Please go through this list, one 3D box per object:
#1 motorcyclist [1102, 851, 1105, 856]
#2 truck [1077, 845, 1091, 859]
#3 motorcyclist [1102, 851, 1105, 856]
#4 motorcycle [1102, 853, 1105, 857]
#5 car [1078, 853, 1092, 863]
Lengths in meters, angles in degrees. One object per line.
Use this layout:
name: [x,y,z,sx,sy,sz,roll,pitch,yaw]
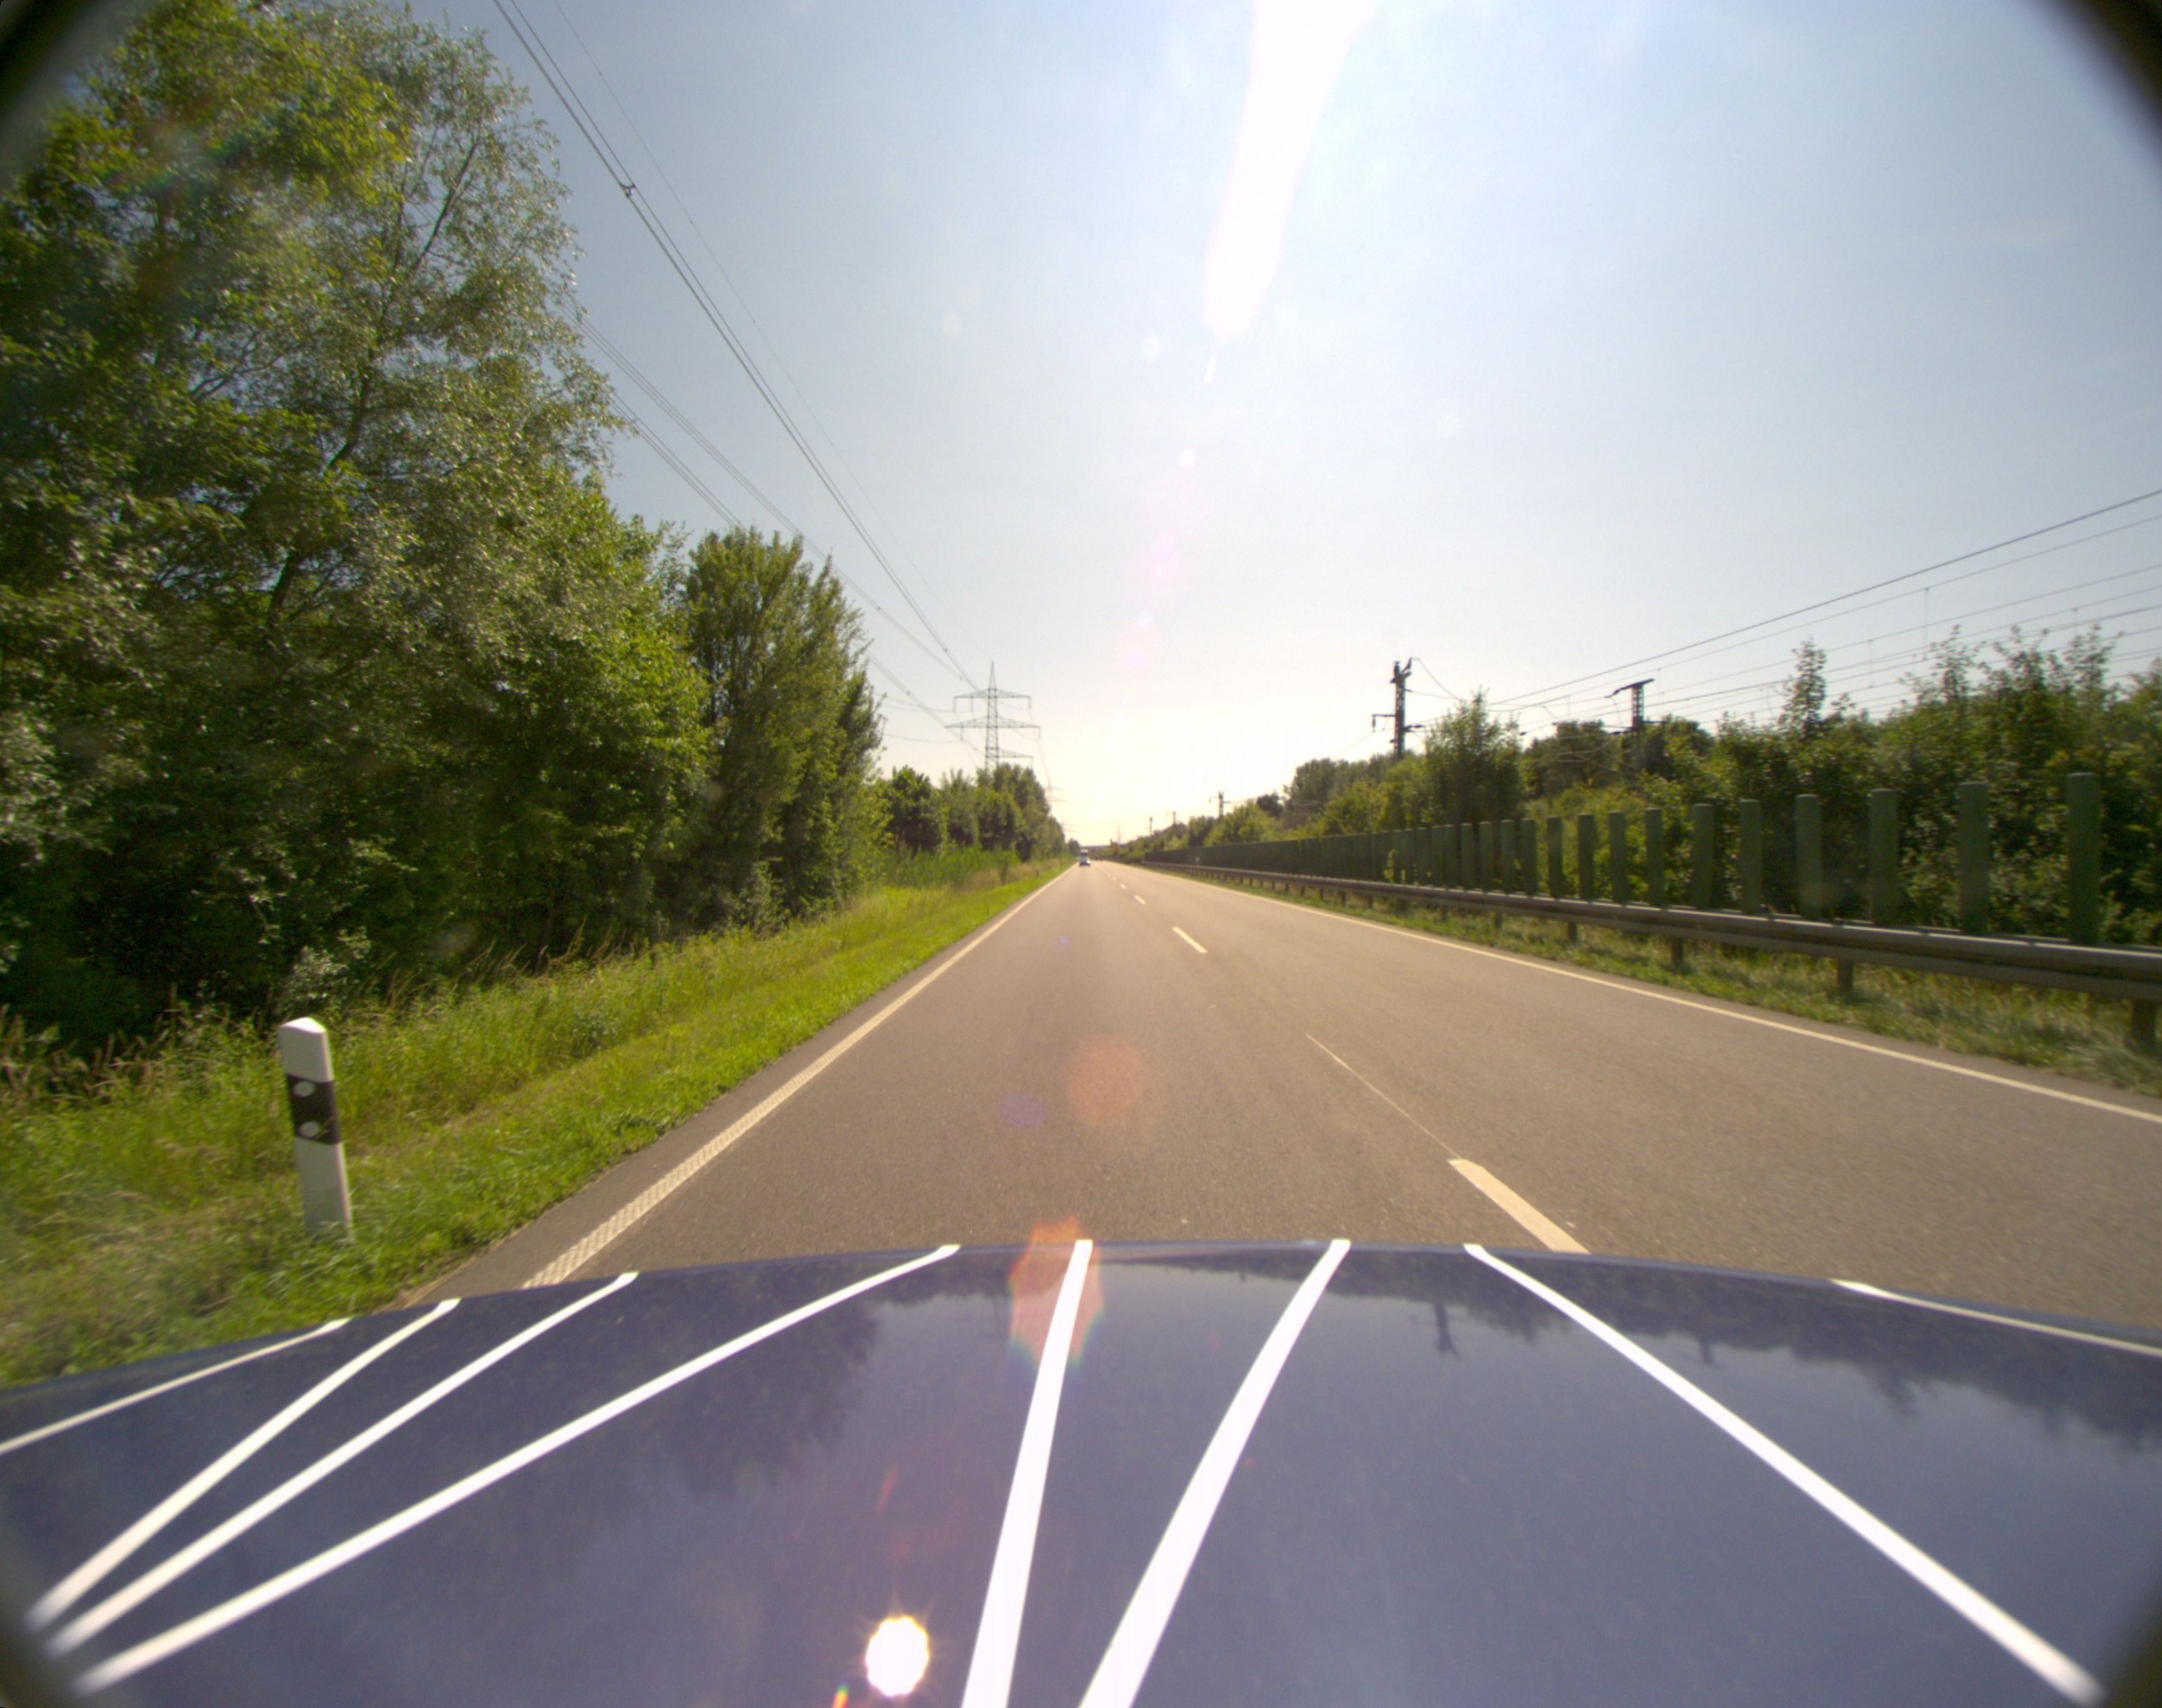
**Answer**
motorcyclist: [6.235,-0.147,214.249,0.751,1.574,0.863,-2,1,2]
truck: [0.898,-0.679,262.171,4.219,4.608,21.302,-2,0,0]
motorcyclist: [6.266,-0.162,215.203,0.760,1.574,1.003,-2,1,2]
motorcycle: [6.265,0.267,215.004,0.756,1.008,2.721,-2,1,2]
car: [0.572,0.588,114.475,1.999,1.346,4.157,-2,1,0]
